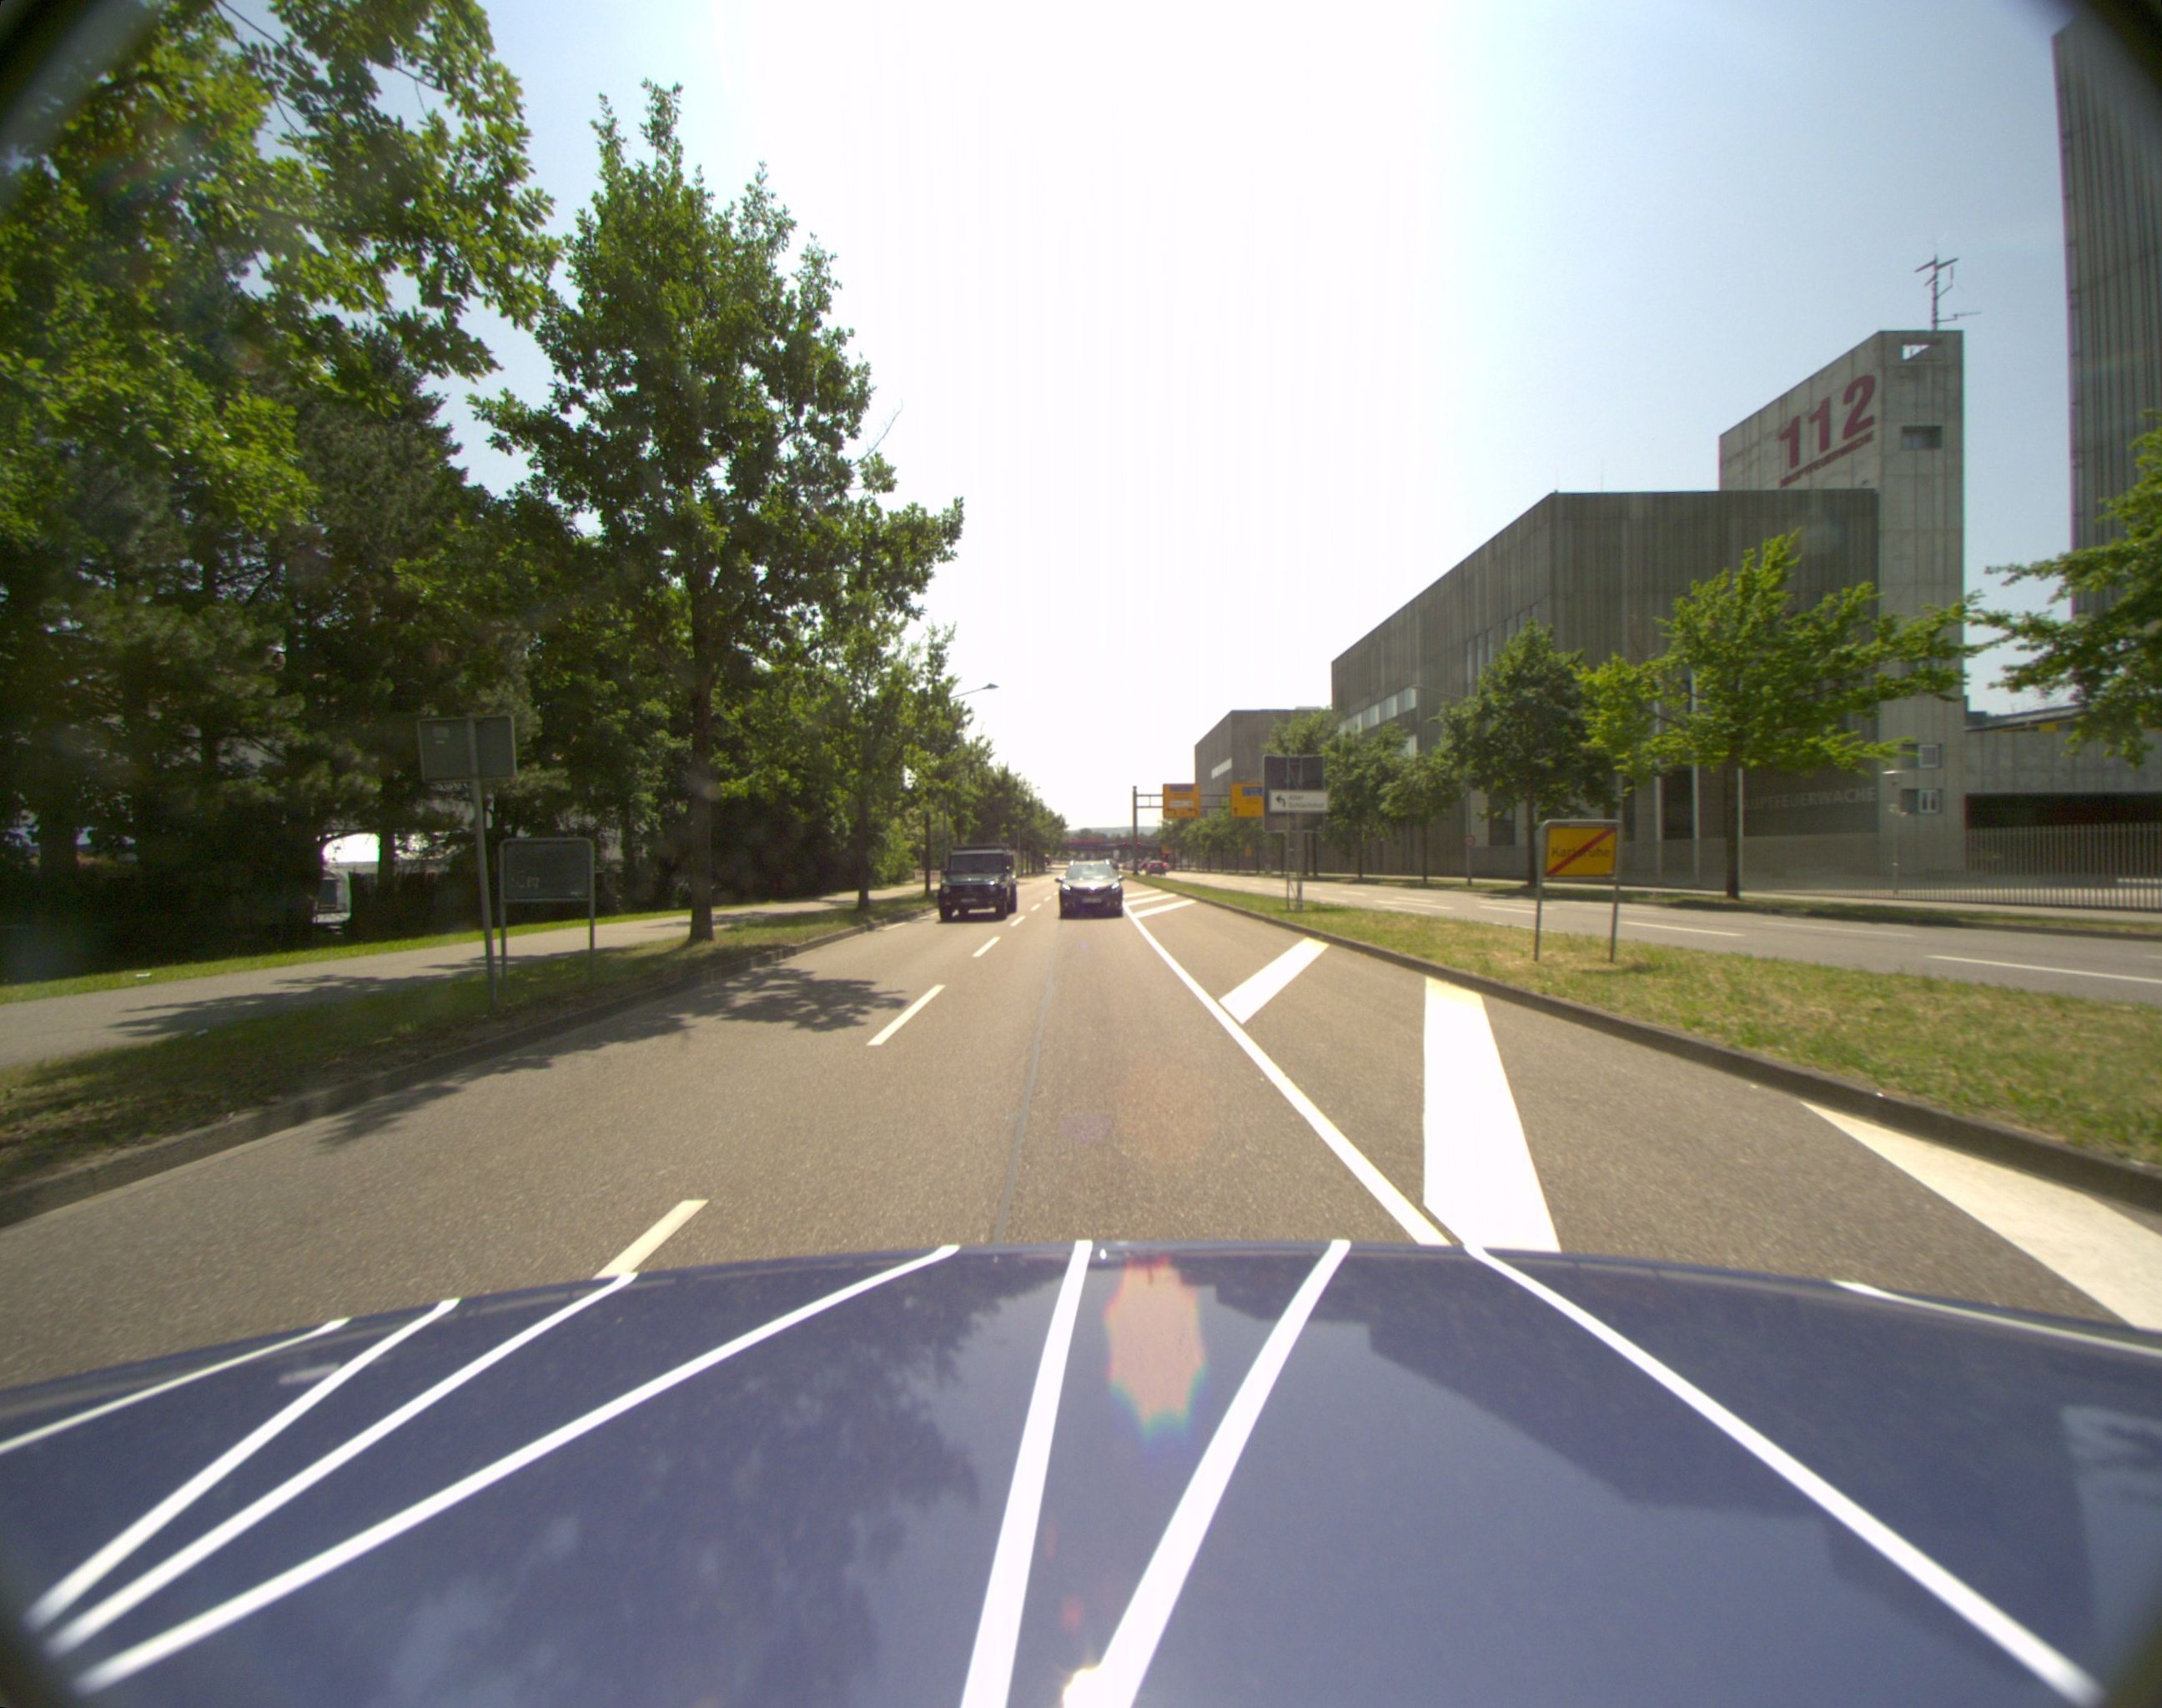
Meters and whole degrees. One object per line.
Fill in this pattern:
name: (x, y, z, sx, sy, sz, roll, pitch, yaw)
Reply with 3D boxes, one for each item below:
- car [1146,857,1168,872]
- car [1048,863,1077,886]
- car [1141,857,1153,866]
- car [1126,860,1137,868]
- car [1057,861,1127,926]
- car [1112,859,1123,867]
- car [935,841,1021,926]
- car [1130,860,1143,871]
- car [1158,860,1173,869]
car: (7.854, 1.096, 78.463, 1.712, 1.463, 3.940, 0, 0, -2)
car: (-1.196, 1.352, 51.080, 1.817, 1.455, 4.000, -1, 0, 0)
car: (13.005, 1.502, 150.763, 1.815, 1.736, 4.645, -1, 0, -2)
car: (9.332, 1.886, 141.277, 1.770, 1.452, 4.145, 0, 0, -1)
car: (0.358, 0.996, 20.654, 1.619, 1.502, 4.459, -3, -1, 2)
car: (7.244, 1.764, 151.086, 1.815, 1.457, 4.057, 0, 0, 0)
car: (-2.821, 0.755, 21.805, 1.841, 2.141, 4.557, -1, 0, -1)
car: (9.853, 2.021, 134.466, 1.914, 1.981, 4.898, 0, 0, 0)
car: (13.267, 1.620, 119.469, 1.815, 1.419, 4.359, 0, 0, 0)
